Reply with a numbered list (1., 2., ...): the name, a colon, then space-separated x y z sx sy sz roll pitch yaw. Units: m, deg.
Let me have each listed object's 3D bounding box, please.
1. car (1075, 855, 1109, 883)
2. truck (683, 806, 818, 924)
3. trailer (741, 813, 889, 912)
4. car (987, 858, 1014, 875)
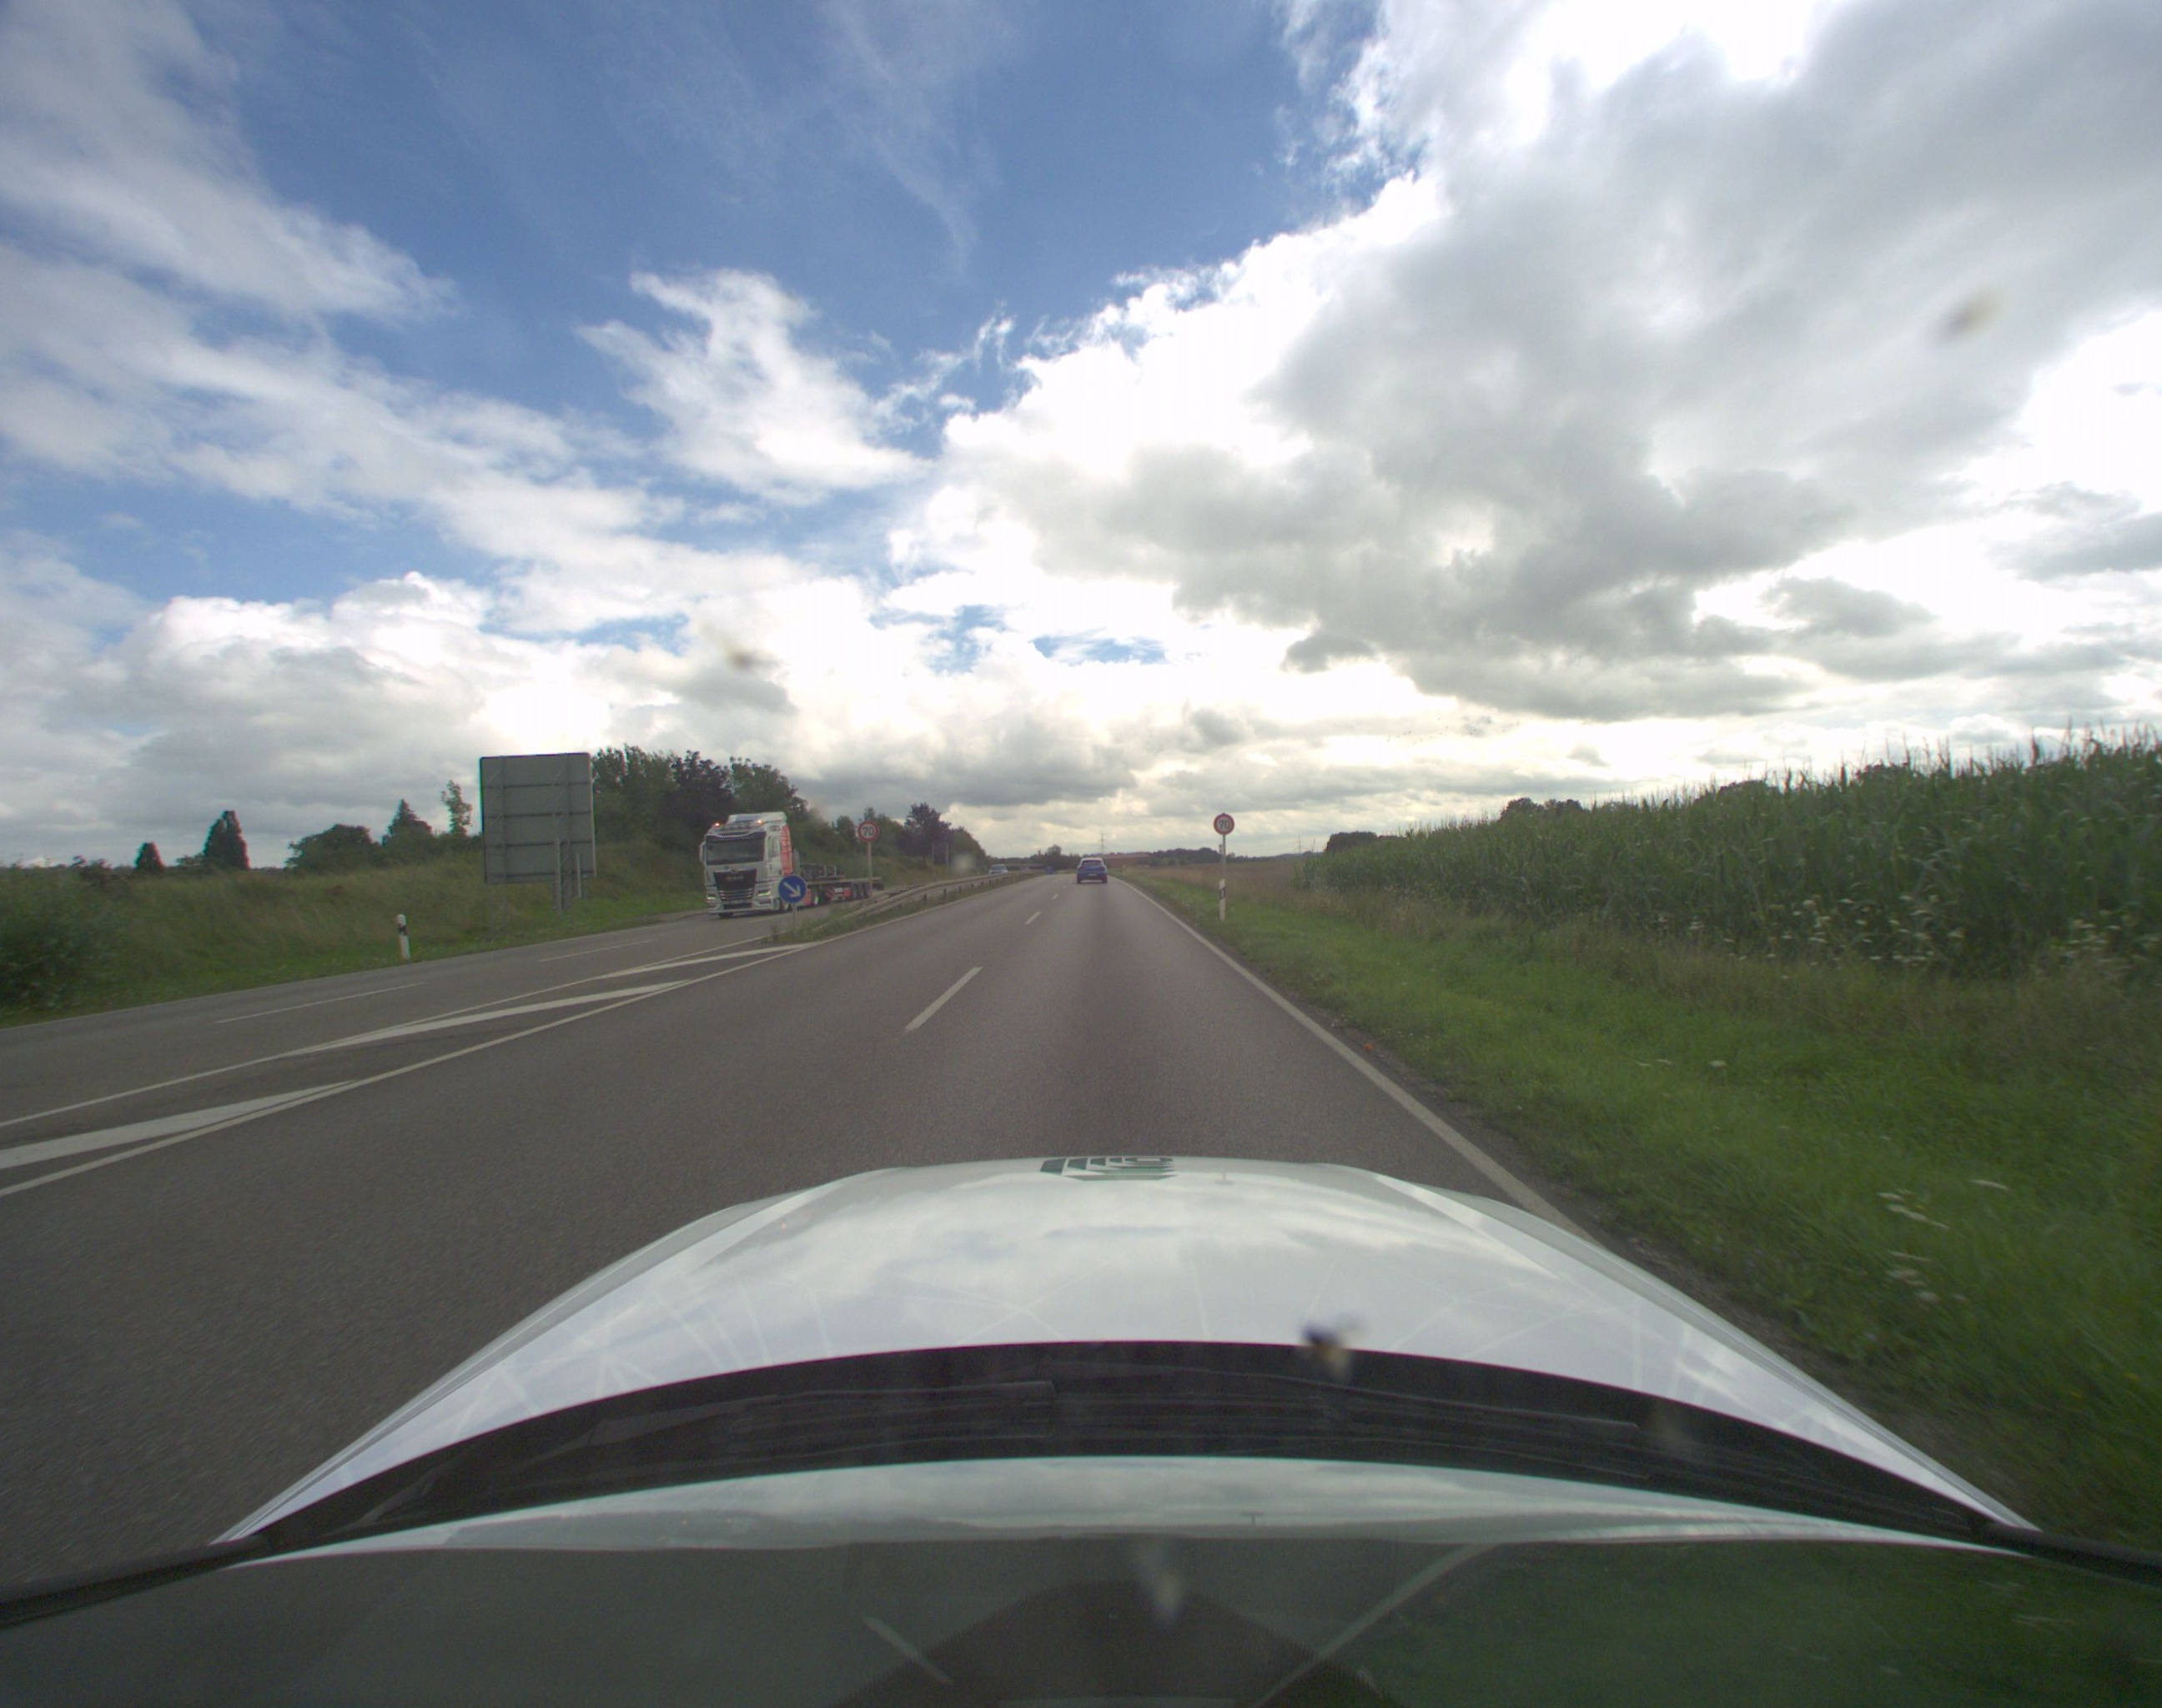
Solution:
1. car: 0.691 0.948 52.594 2.026 1.660 4.542 -1 -1 0
2. truck: -12.459 0.379 31.231 2.793 3.997 5.286 -3 0 0
3. trailer: -12.445 0.324 39.905 2.766 3.947 12.983 -3 0 0
4. car: -7.986 1.194 80.962 2.078 1.519 4.194 -3 0 1
